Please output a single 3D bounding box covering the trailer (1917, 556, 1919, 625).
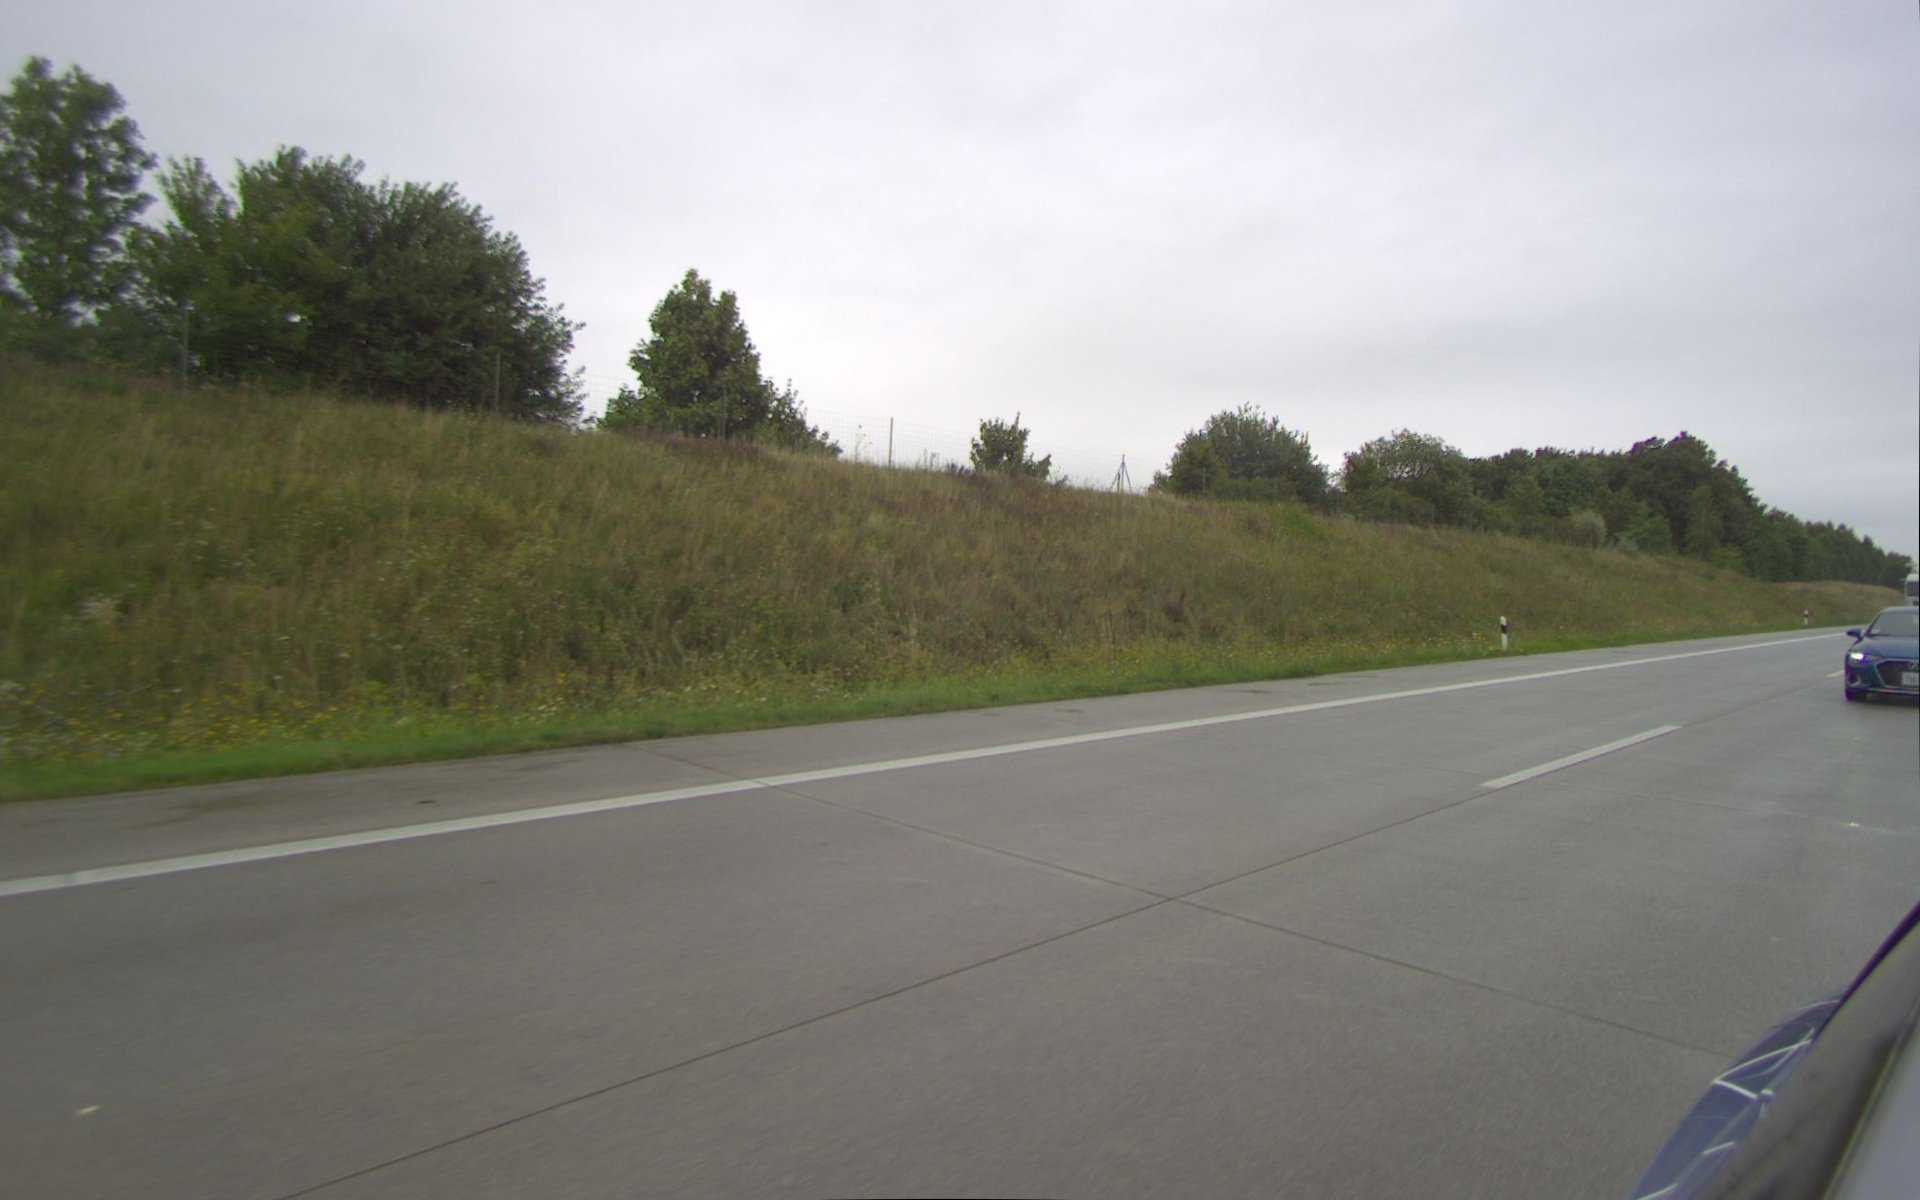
[{"bbox_3d":[68.142,-0.526,69.079,14.938,4.436,2.710,1,-2,-41],"label":"trailer"}]

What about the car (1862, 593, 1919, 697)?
[{"bbox_3d":[15.516,0.654,15.706,4.591,1.477,1.732,0,1,-42],"label":"car"}]

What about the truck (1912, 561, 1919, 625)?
[{"bbox_3d":[62.489,-0.416,64.092,5.586,4.005,2.640,1,-2,-41],"label":"truck"}]
